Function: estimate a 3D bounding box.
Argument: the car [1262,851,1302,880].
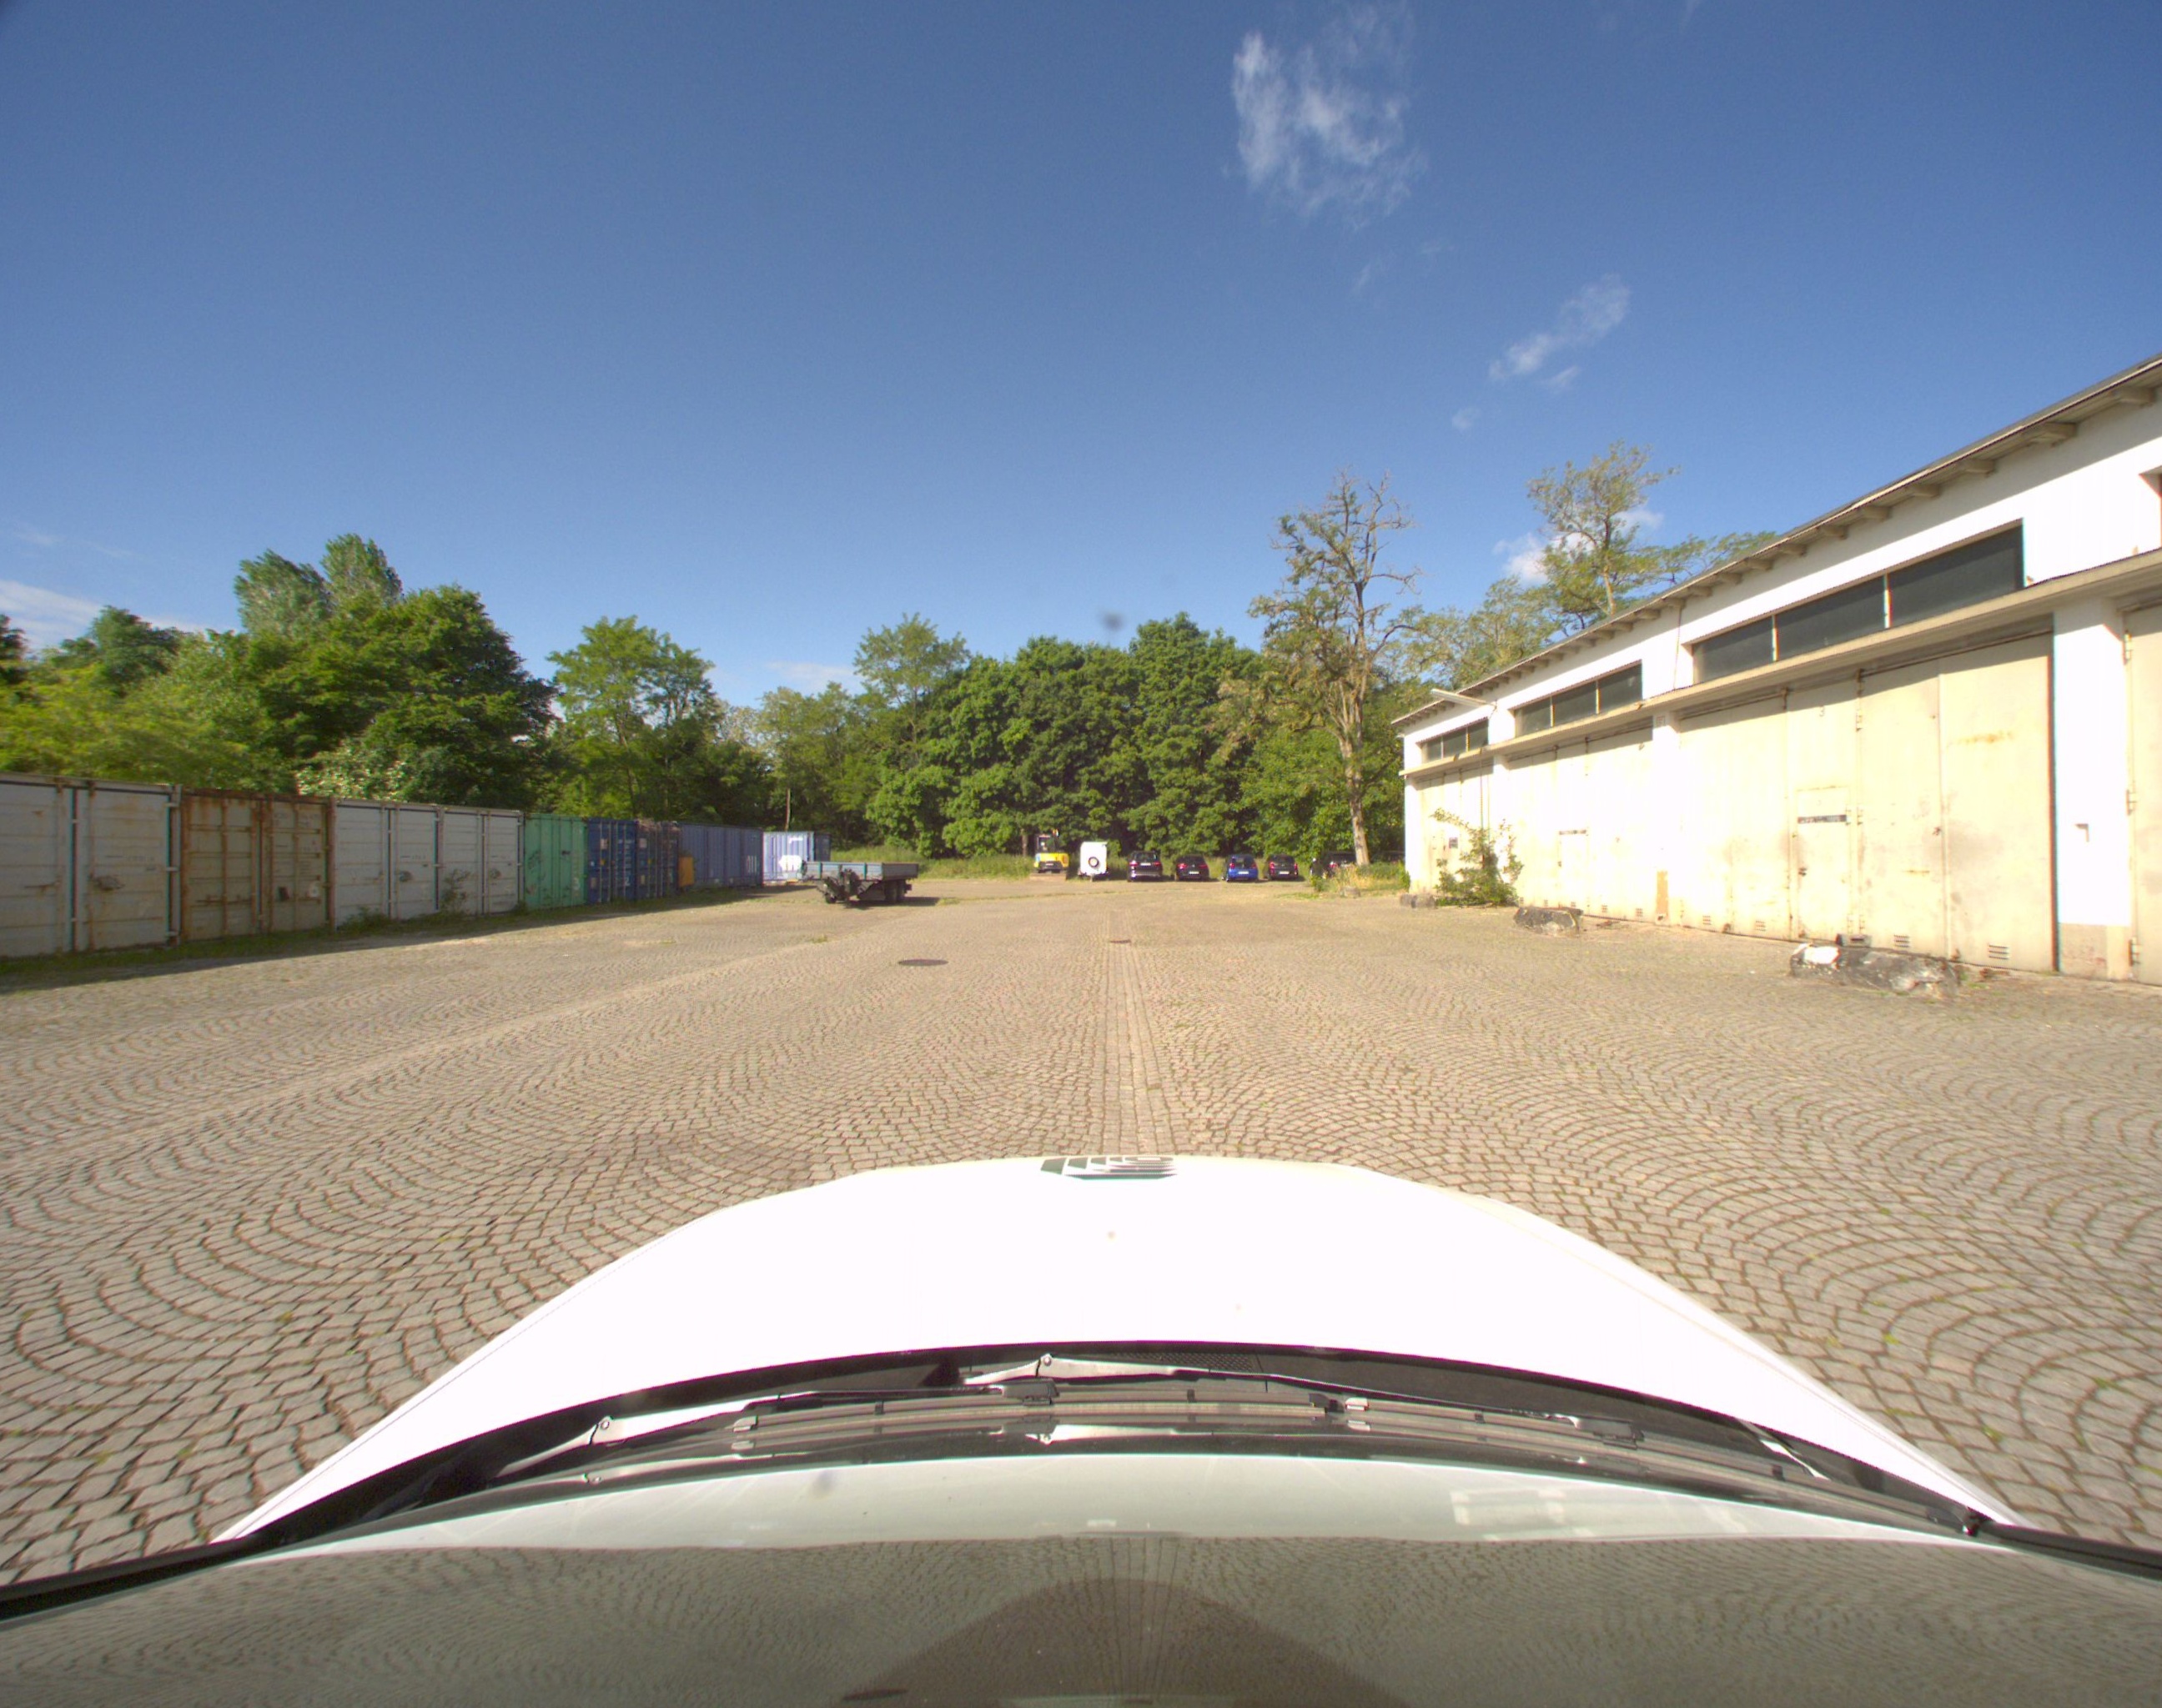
[{"bbox_3d":[11.064,0.621,45.003,1.729,1.451,3.733,0,1,8],"label":"car"}]

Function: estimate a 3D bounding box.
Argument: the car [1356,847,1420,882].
[{"bbox_3d":[16.792,0.542,44.777,1.819,1.589,4.271,-1,3,-2],"label":"car"}]

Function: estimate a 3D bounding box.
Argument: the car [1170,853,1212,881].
[{"bbox_3d":[5.904,0.662,44.020,1.882,1.411,3.792,0,1,2],"label":"car"}]

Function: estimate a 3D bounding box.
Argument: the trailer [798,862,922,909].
[{"bbox_3d":[-7.154,0.974,27.055,2.630,1.414,4.864,0,-1,2],"label":"trailer"}]

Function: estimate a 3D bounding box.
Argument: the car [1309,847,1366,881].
[{"bbox_3d":[13.899,0.487,44.382,1.867,1.630,4.276,0,2,2],"label":"car"}]

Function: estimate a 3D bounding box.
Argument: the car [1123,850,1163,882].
[{"bbox_3d":[3.287,0.603,43.740,1.956,1.589,4.134,0,1,2],"label":"car"}]

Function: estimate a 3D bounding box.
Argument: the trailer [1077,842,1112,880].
[{"bbox_3d":[0.780,0.351,45.028,1.810,2.050,2.853,0,1,3],"label":"trailer"}]

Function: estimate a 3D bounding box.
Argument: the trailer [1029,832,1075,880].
[{"bbox_3d":[-1.571,0.065,45.362,2.249,2.538,2.854,0,3,3],"label":"trailer"}]

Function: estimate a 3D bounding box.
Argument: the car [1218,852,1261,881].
[{"bbox_3d":[8.527,0.649,44.021,1.772,1.458,3.793,0,1,3],"label":"car"}]
